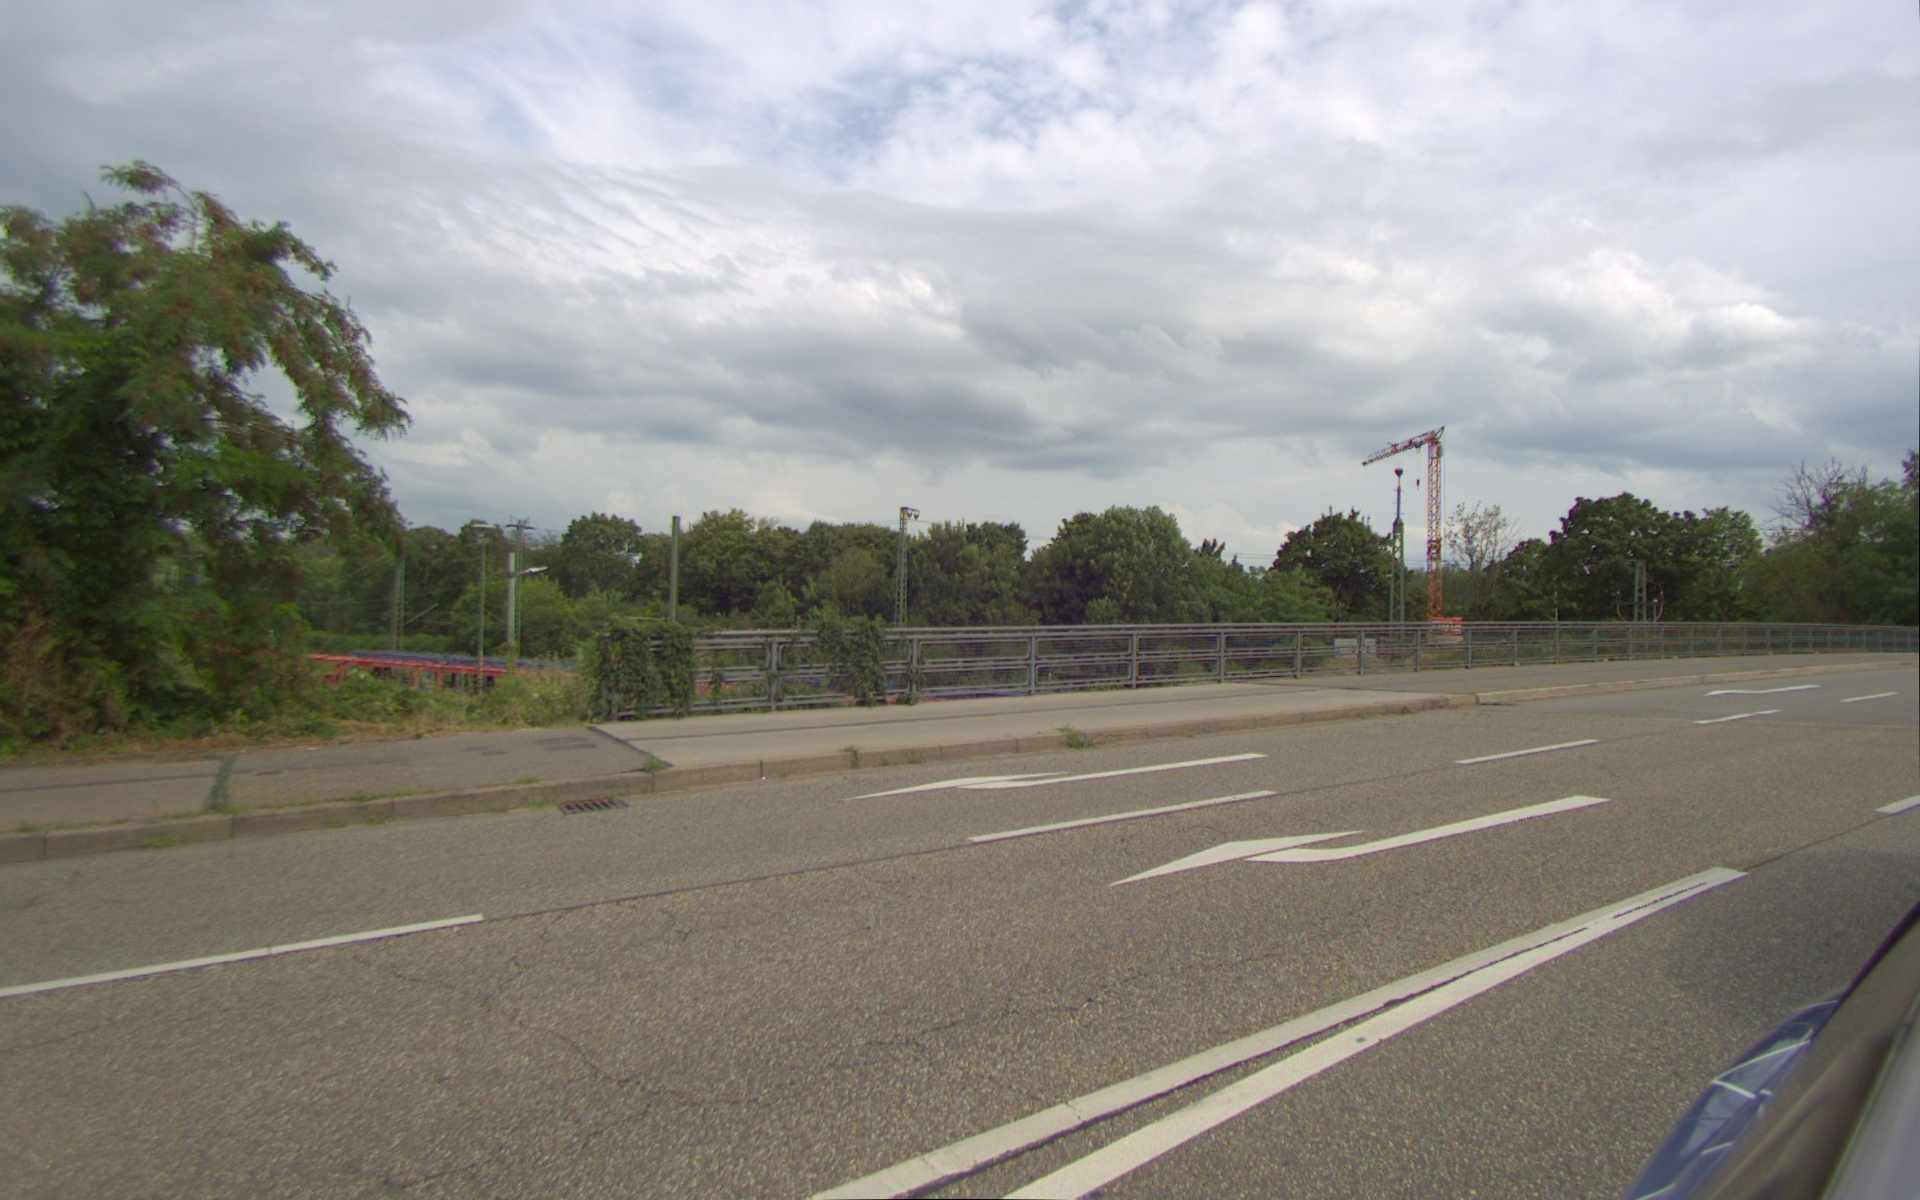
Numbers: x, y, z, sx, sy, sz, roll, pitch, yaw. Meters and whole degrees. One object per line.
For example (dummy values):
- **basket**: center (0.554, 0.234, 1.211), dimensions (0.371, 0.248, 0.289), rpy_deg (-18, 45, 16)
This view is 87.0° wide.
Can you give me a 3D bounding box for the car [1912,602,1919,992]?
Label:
- **car**: center (5.809, 0.694, 4.155), dimensions (4.639, 1.381, 1.854), rpy_deg (0, 0, -35)
